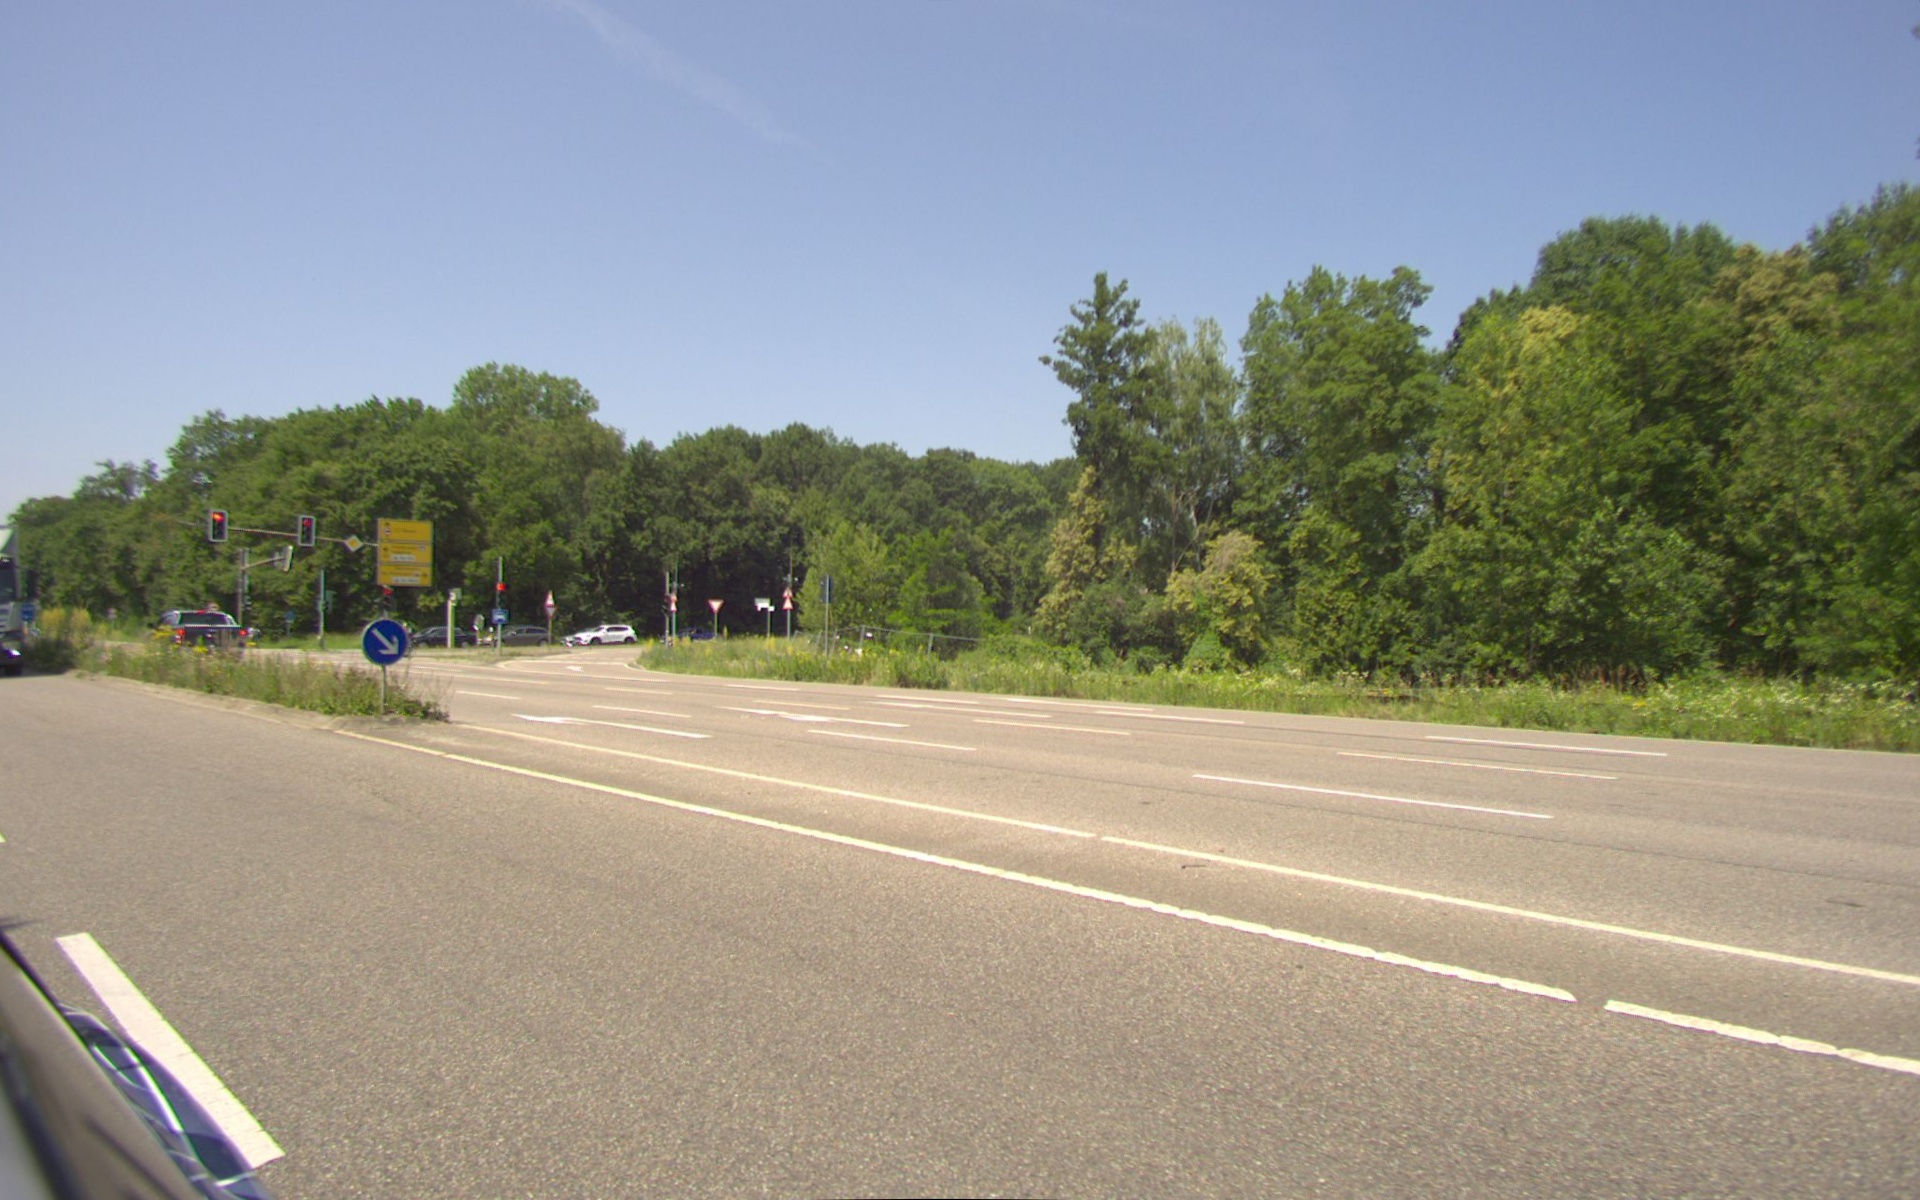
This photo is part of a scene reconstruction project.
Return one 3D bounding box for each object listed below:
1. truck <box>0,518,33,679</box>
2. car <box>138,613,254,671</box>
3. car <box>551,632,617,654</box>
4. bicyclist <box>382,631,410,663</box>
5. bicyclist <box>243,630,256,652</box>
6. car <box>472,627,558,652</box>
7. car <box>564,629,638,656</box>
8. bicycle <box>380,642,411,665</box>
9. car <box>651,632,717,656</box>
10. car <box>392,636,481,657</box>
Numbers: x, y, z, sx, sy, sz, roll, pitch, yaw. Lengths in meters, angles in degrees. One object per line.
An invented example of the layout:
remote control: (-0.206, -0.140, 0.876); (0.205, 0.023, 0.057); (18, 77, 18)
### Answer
truck: (-28.027, 0.083, 27.612); (11.313, 3.914, 2.718); (-2, -1, 41)
car: (-24.336, 1.325, 32.165); (5.364, 1.691, 1.972); (-2, -4, 43)
car: (-28.746, 3.262, 77.409); (1.871, 1.648, 4.353); (-2, -3, 40)
bicyclist: (-26.356, 2.208, 47.298); (0.911, 1.471, 0.718); (1, -2, -11)
bicyclist: (-48.300, 2.805, 68.781); (0.651, 1.476, 0.811); (2, -3, -39)
car: (-28.825, 2.554, 65.620); (1.860, 1.530, 4.756); (-2, -3, 40)
car: (-26.480, 3.133, 74.754); (2.066, 1.910, 4.753); (-2, -3, 42)
bicycle: (-26.350, 2.488, 47.276); (0.712, 1.071, 1.873); (1, -2, -11)
car: (-21.766, 3.473, 79.992); (1.998, 1.770, 4.756); (-2, -3, 40)
car: (-34.059, 3.029, 65.919); (2.105, 1.300, 4.753); (-2, -3, 42)
